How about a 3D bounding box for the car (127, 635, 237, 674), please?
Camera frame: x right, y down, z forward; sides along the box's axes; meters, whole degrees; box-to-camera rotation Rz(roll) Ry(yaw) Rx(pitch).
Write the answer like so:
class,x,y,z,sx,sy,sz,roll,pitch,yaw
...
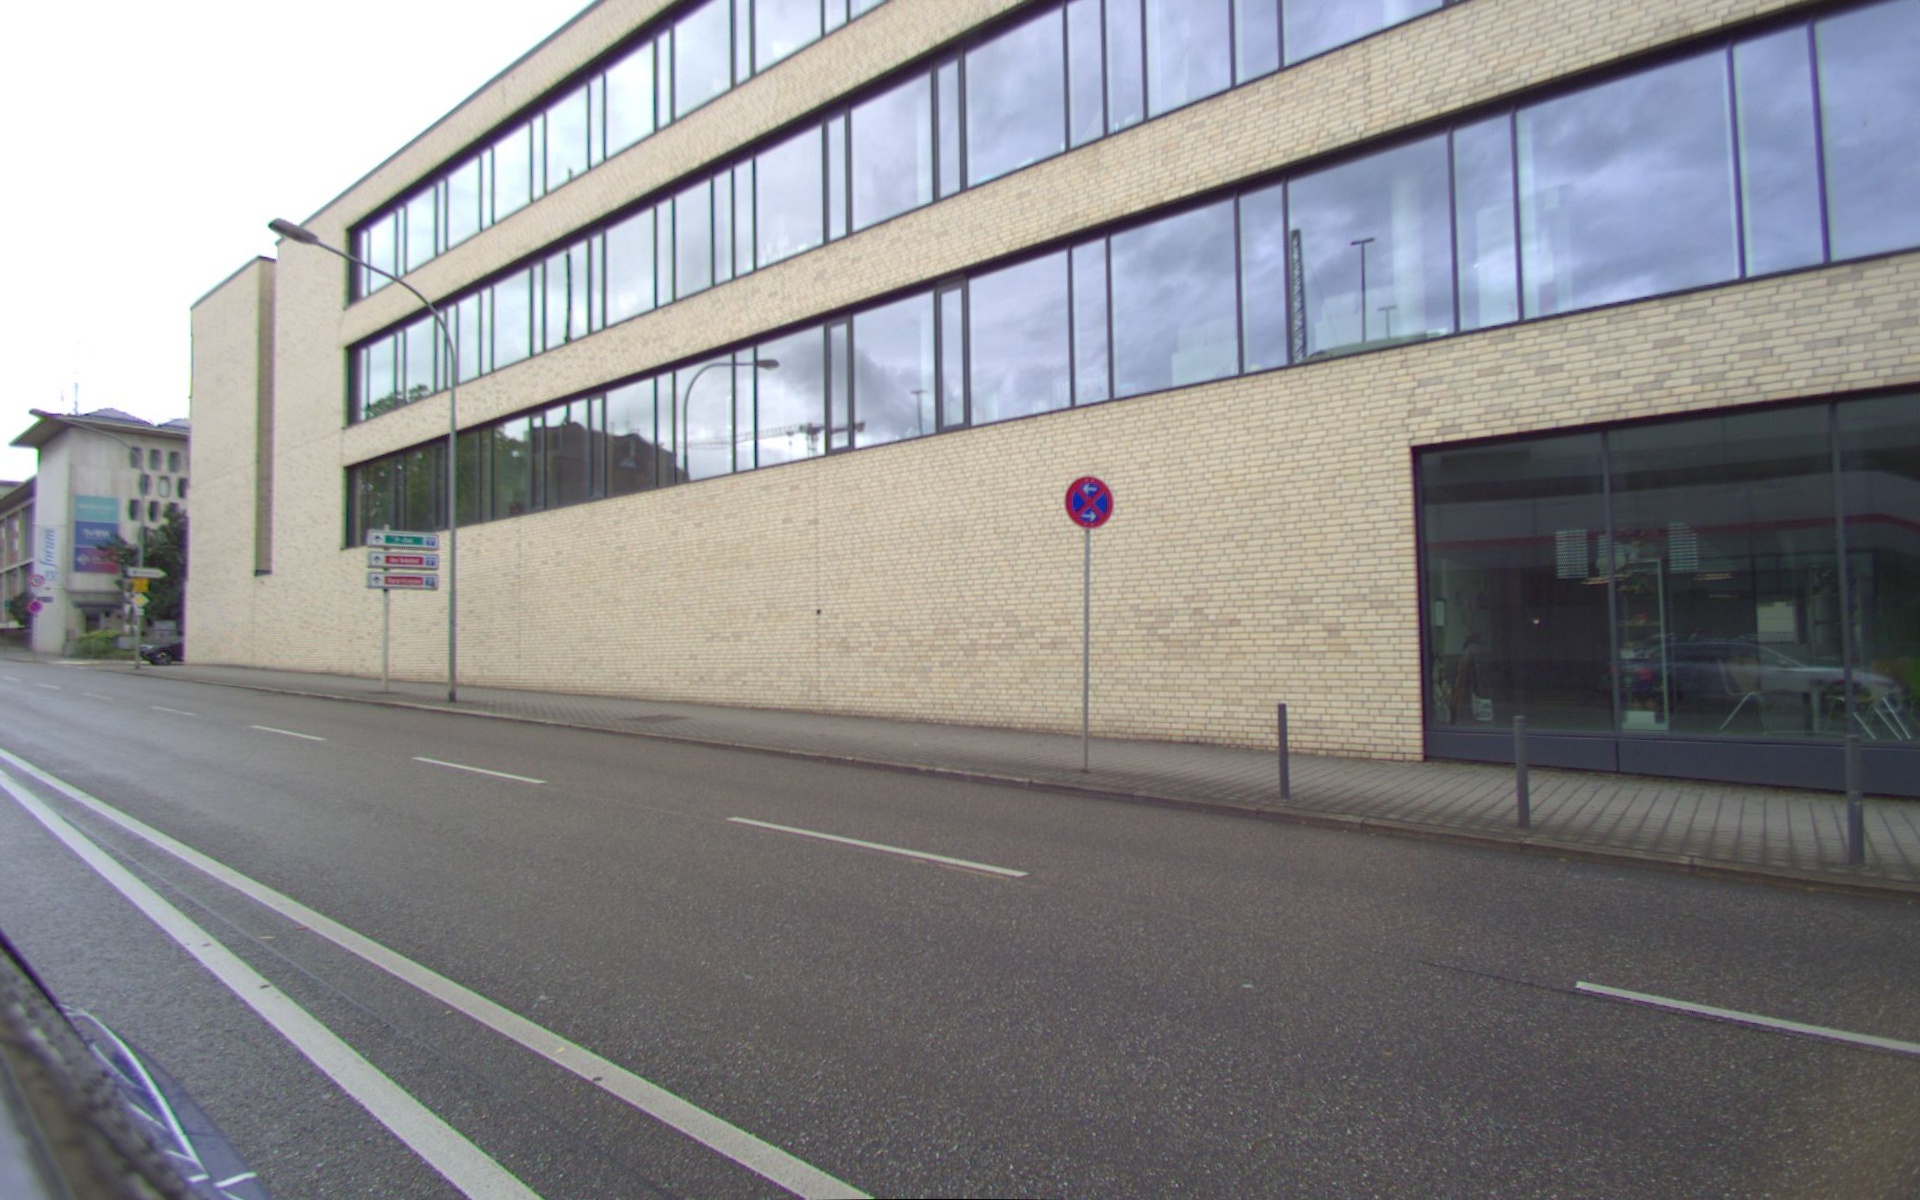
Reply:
class,x,y,z,sx,sy,sz,roll,pitch,yaw
car,-36.432,2.535,47.519,3.933,1.674,1.866,0,-1,-33
